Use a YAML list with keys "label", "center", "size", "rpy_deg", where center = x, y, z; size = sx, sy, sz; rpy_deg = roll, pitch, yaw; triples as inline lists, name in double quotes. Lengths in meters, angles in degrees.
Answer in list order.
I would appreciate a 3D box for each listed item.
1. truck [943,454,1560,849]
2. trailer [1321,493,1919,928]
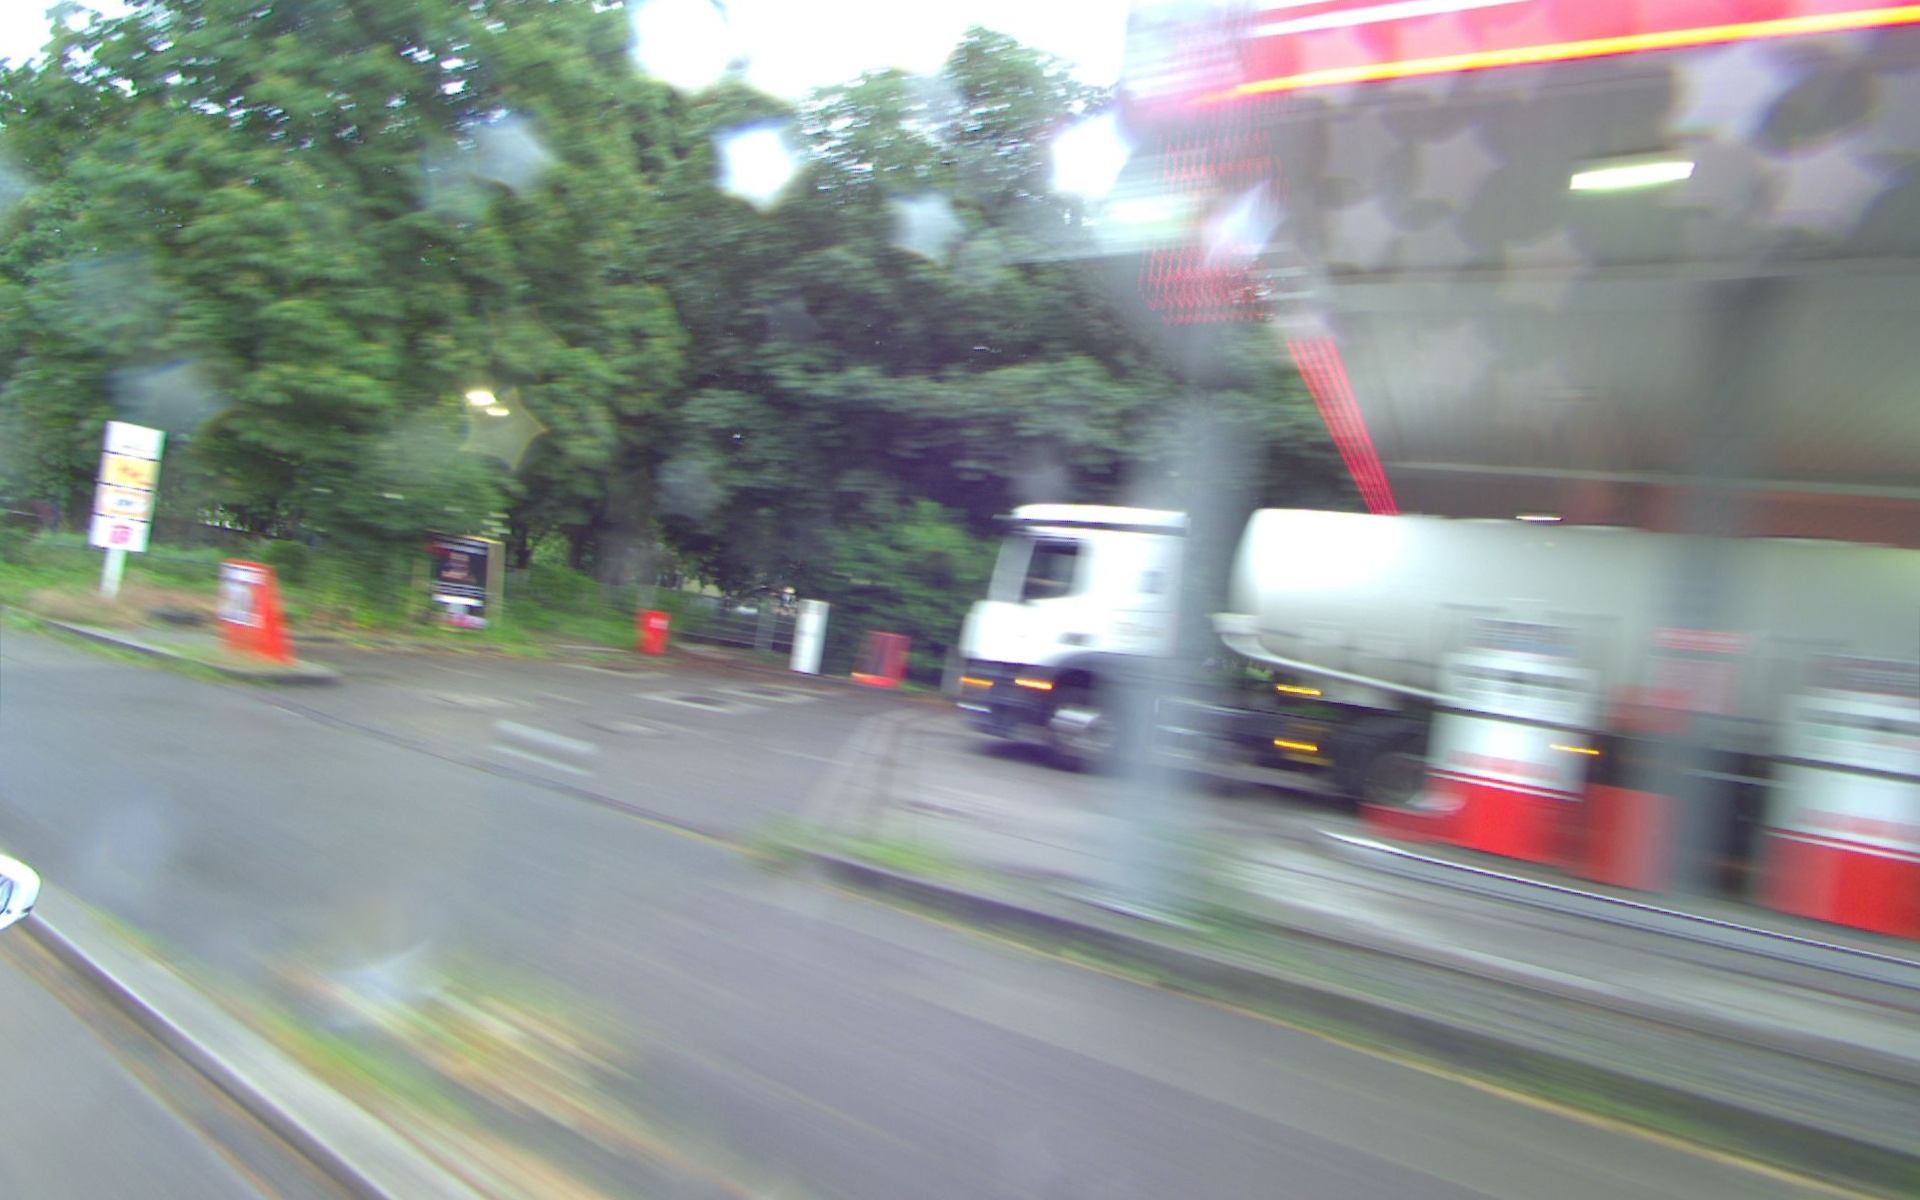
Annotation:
- label: "truck"
  center: [3.274, 0.456, 12.177]
  size: [6.010, 3.440, 2.838]
  rpy_deg: [7, 0, 18]
- label: "trailer"
  center: [8.889, 1.170, 9.735]
  size: [9.661, 3.436, 2.813]
  rpy_deg: [6, -1, 25]
